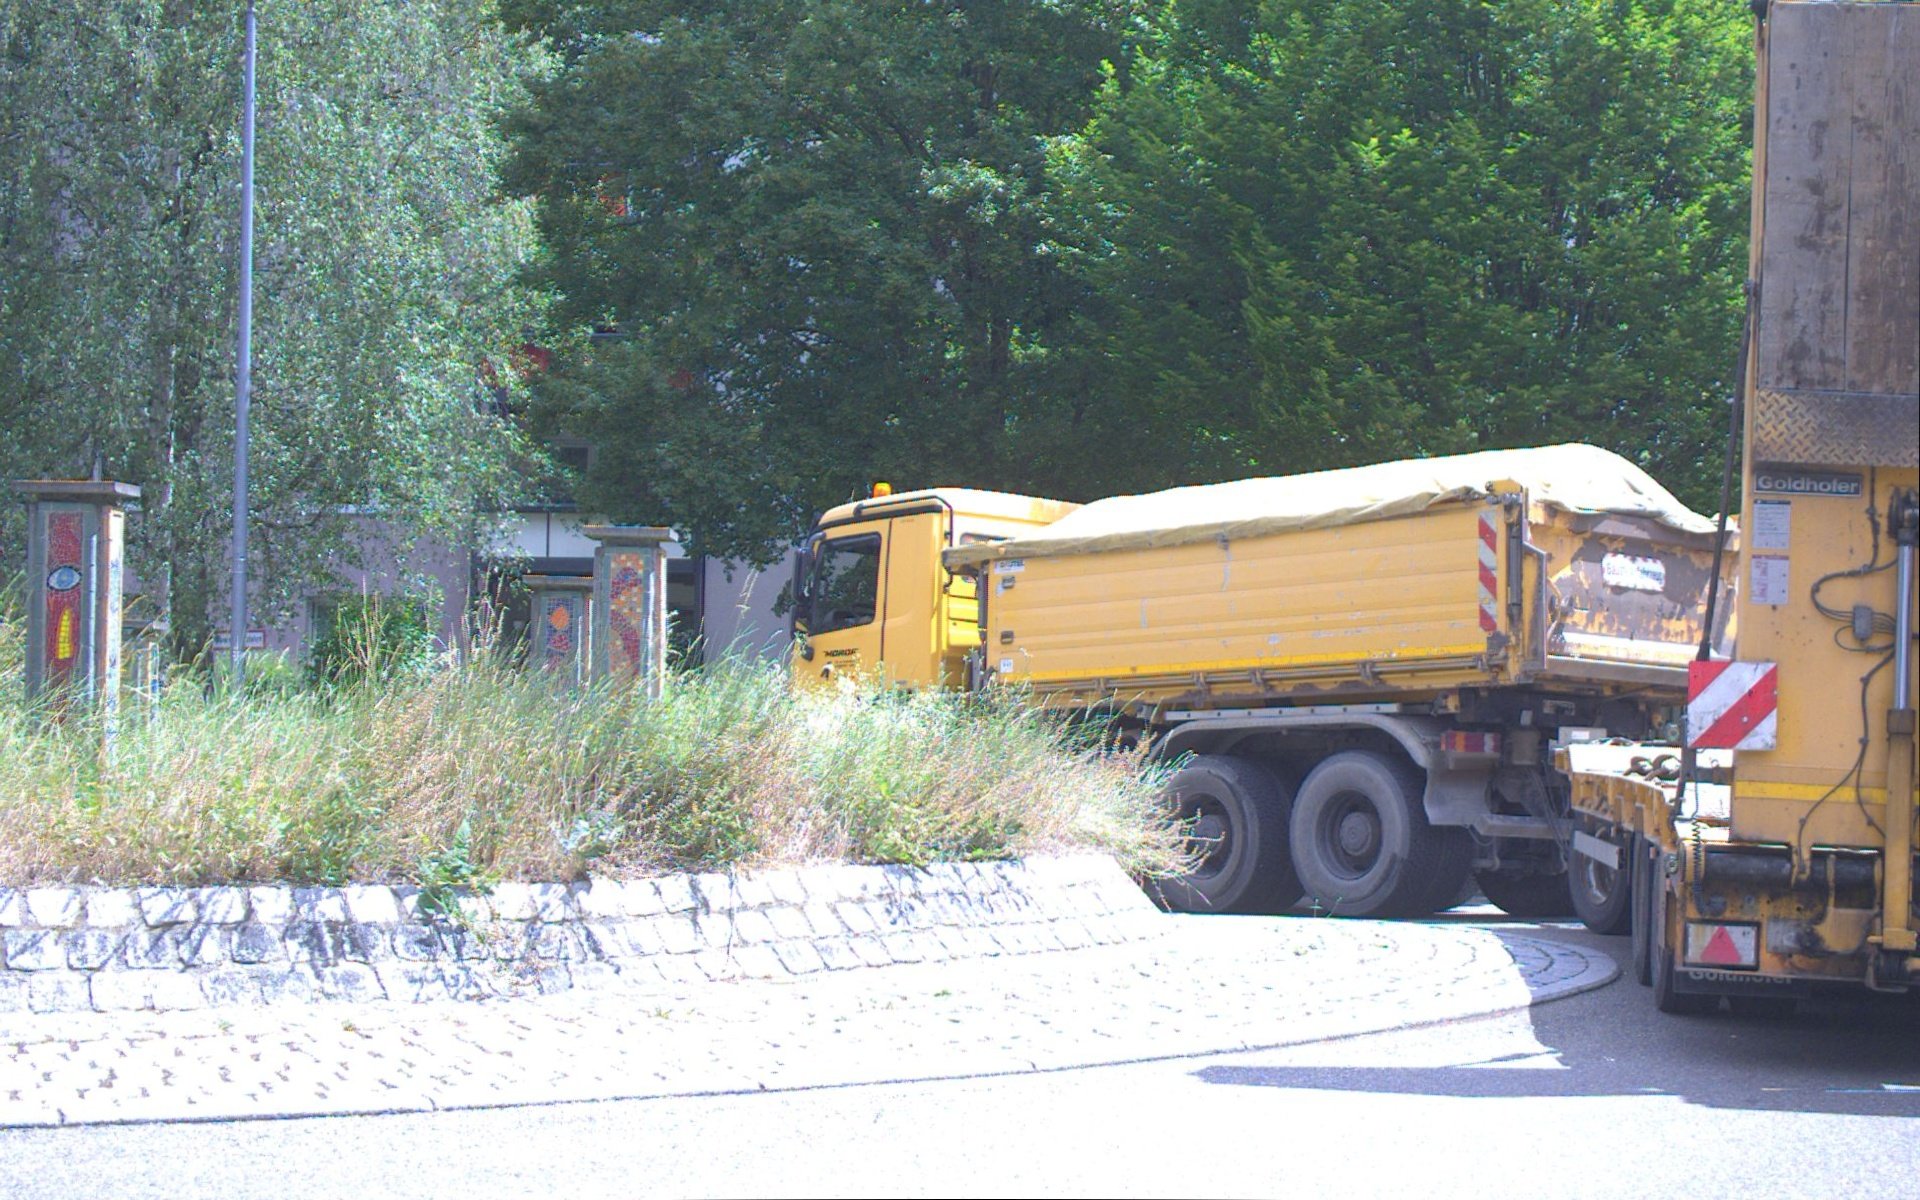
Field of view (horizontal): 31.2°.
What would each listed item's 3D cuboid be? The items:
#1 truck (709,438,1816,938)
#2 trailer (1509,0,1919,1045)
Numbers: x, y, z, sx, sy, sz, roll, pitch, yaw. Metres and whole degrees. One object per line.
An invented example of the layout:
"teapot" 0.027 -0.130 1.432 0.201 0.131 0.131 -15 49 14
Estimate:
"truck" 1.825 0.604 25.073 2.989 3.025 8.482 1 -1 -39
"trailer" 4.277 -0.042 16.317 2.864 3.361 10.836 2 -2 7
